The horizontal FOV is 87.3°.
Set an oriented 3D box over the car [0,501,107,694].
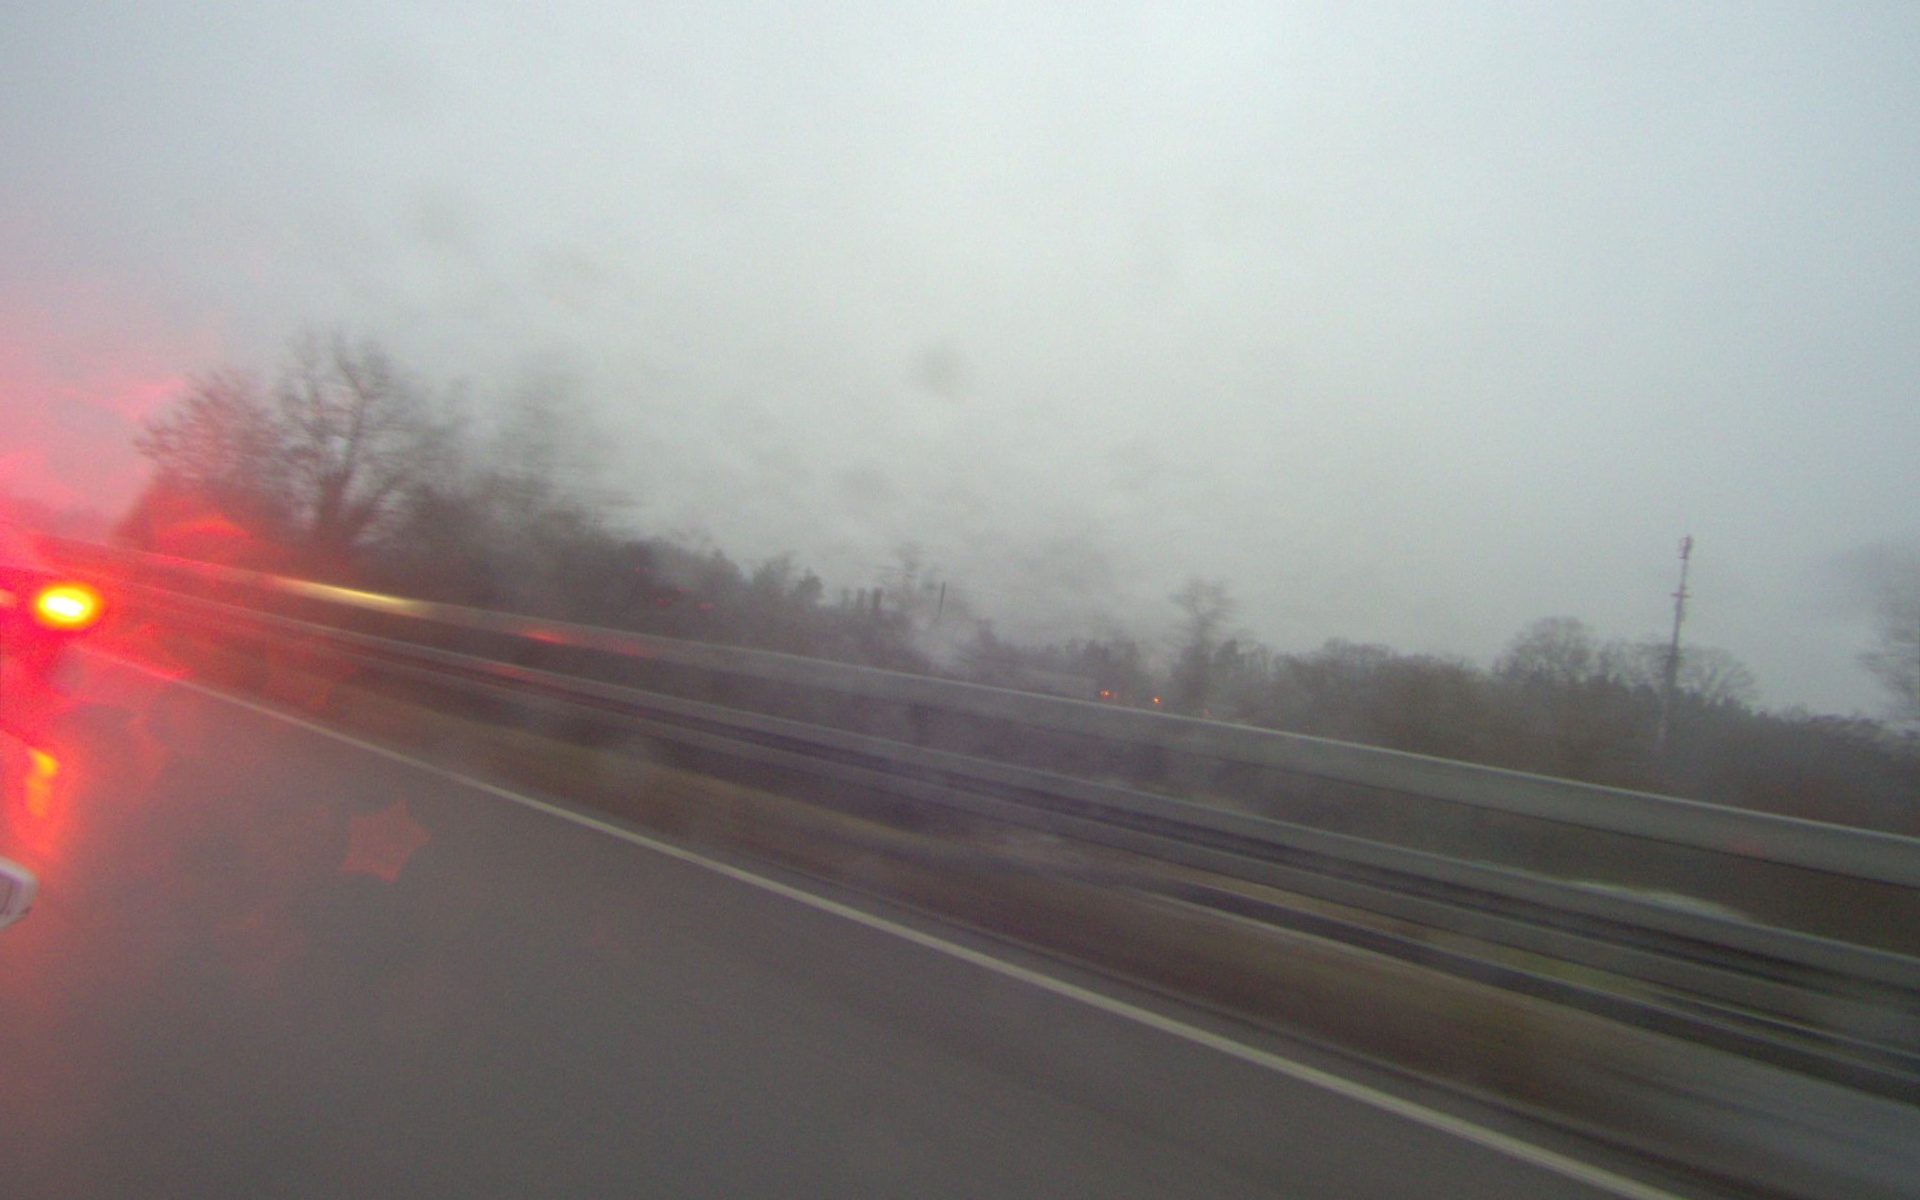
[{"bbox_3d":[-9.229,-0.230,8.674,4.308,1.432,1.737,7,0,35],"label":"car"}]
